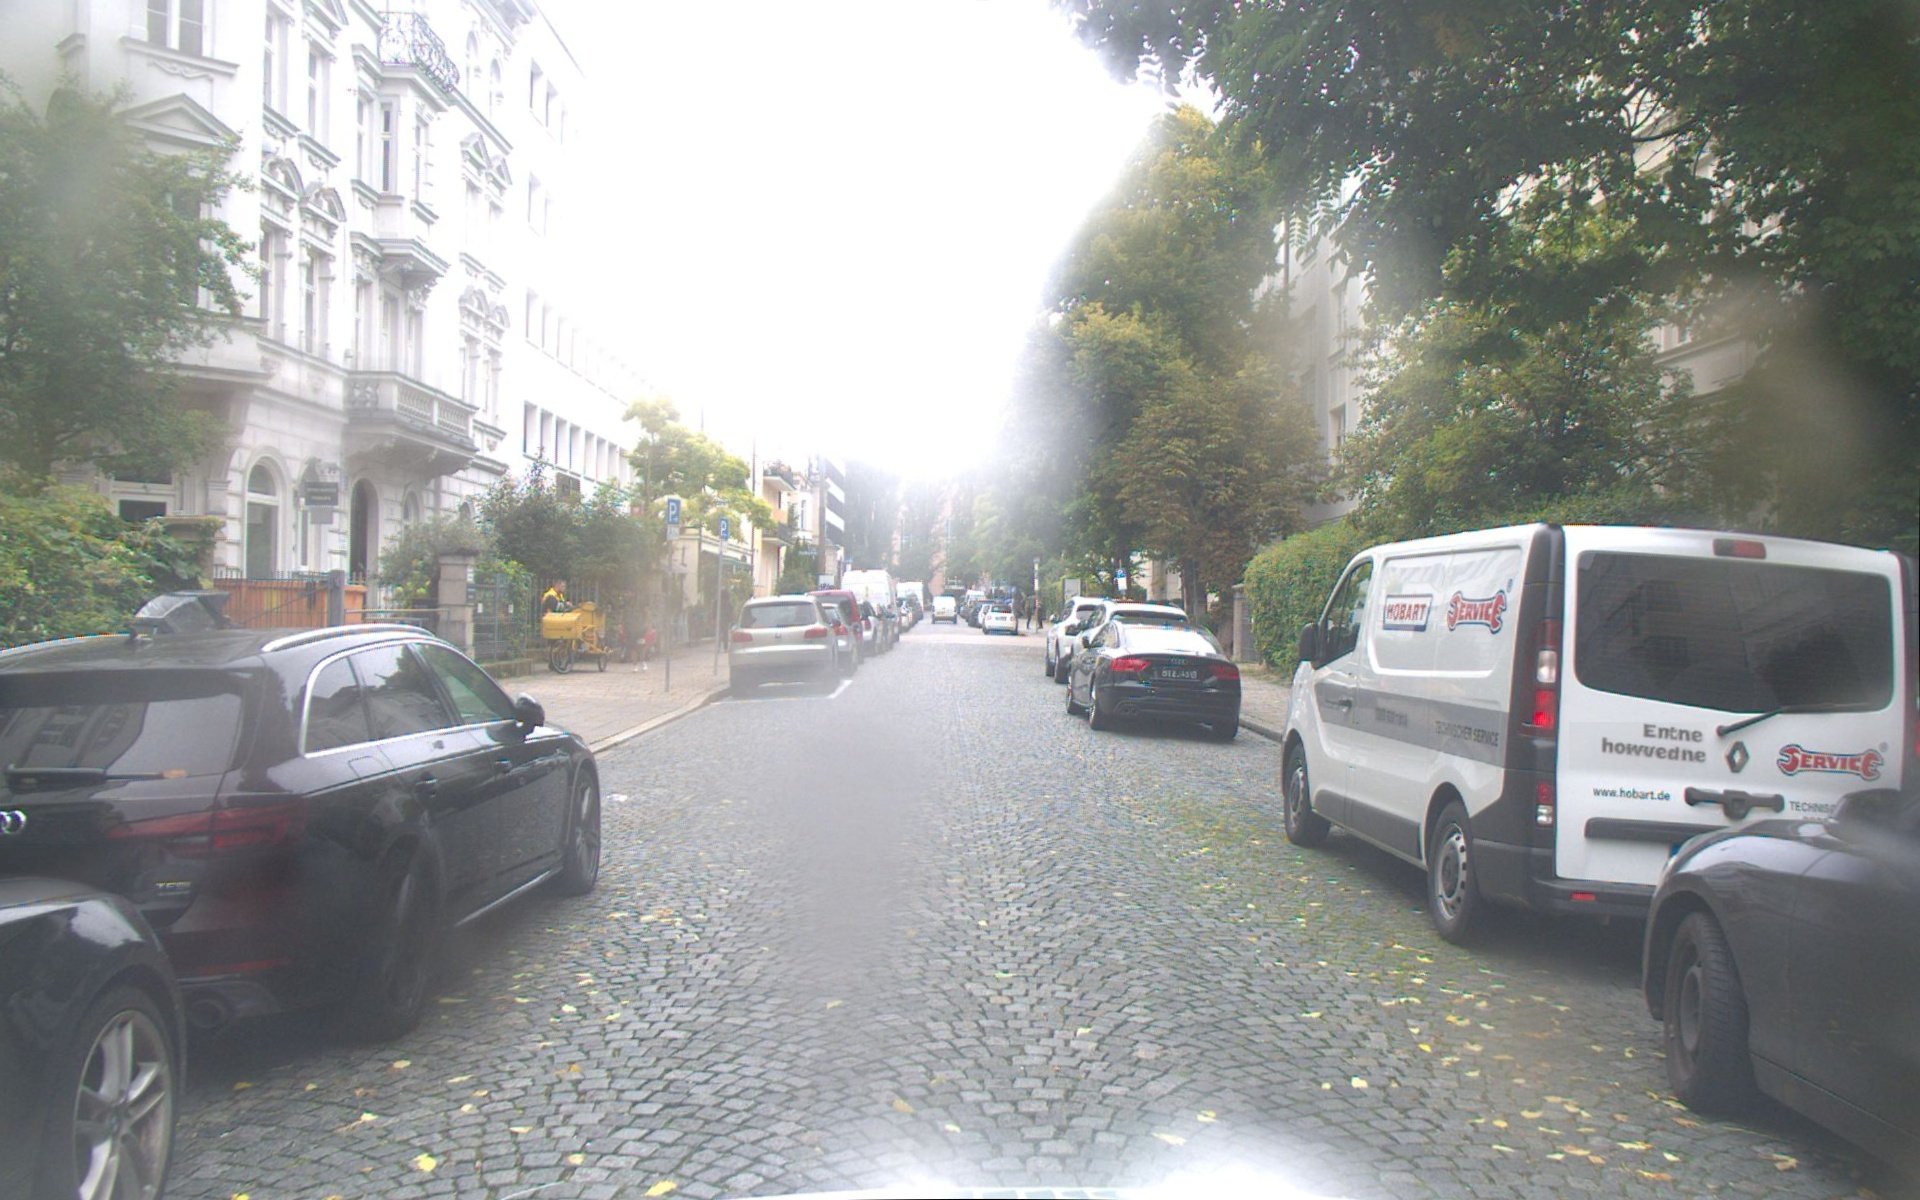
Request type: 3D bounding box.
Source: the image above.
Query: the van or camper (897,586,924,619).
[{"bbox_3d":[-4.349,0.222,146.507,2.210,2.790,5.097,1,0,-1],"label":"van or camper"}]

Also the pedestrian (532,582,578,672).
[{"bbox_3d":[-7.882,0.525,32.205,0.703,1.717,0.695,1,0,-1],"label":"pedestrian"}]

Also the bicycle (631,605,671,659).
[{"bbox_3d":[-7.359,0.752,39.330,0.645,1.242,2.078,1,0,-19],"label":"bicycle"}]

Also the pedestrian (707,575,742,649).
[{"bbox_3d":[-6.369,0.322,44.708,0.776,1.951,0.758,2,0,-1],"label":"pedestrian"}]

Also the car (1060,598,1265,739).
[{"bbox_3d":[2.495,0.799,21.448,1.836,1.529,4.509,3,0,-3],"label":"car"}]

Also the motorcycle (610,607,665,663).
[{"bbox_3d":[-7.228,0.762,37.166,0.609,1.217,1.866,1,0,8],"label":"motorcycle"}]

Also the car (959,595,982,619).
[{"bbox_3d":[0.933,0.588,146.957,1.953,2.049,4.000,1,0,0],"label":"car"}]

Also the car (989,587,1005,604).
[{"bbox_3d":[4.710,-0.559,210.540,1.953,2.049,4.000,1,-1,0],"label":"car"}]

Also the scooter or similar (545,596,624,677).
[{"bbox_3d":[-7.166,0.674,31.680,0.922,1.467,2.656,1,0,-1],"label":"scooter or similar"}]

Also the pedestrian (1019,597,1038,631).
[{"bbox_3d":[4.145,0.851,100.078,0.842,2.049,0.986,1,0,-18],"label":"pedestrian"}]

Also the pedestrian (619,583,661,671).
[{"bbox_3d":[-6.288,0.525,32.554,0.679,1.717,0.719,1,0,-1],"label":"pedestrian"}]

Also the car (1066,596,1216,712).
[{"bbox_3d":[2.840,0.803,26.782,1.781,1.607,4.207,4,0,-1],"label":"car"}]

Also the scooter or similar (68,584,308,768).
[{"bbox_3d":[-6.813,0.615,14.811,0.922,1.467,2.655,2,0,-2],"label":"scooter or similar"}]

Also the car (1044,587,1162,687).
[{"bbox_3d":[2.792,0.691,33.327,1.835,1.763,4.592,3,0,-1],"label":"car"}]

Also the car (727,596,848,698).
[{"bbox_3d":[-2.981,0.766,29.290,1.836,1.607,4.253,-2,0,-3],"label":"car"}]

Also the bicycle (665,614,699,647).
[{"bbox_3d":[-7.716,0.833,45.944,0.492,0.854,2.090,1,0,3],"label":"bicycle"}]

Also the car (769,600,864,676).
[{"bbox_3d":[-3.005,0.769,35.343,1.836,1.476,4.206,-1,0,-3],"label":"car"}]

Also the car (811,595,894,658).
[{"bbox_3d":[-3.002,0.736,46.983,1.834,1.607,4.209,3,0,3],"label":"car"}]

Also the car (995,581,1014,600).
[{"bbox_3d":[4.970,-1.047,185.996,1.953,2.049,4.000,1,-1,0],"label":"car"}]

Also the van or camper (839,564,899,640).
[{"bbox_3d":[-3.372,0.075,61.928,1.953,2.698,4.000,-2,0,0],"label":"van or camper"}]

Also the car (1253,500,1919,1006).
[{"bbox_3d":[3.177,0.631,9.277,1.836,1.962,5.161,3,0,-3],"label":"car"}]

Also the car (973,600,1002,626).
[{"bbox_3d":[1.698,0.811,103.748,1.753,1.547,4.000,1,0,0],"label":"car"}]

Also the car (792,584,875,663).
[{"bbox_3d":[-3.146,0.556,41.861,1.835,1.807,4.121,-3,0,-2],"label":"car"}]

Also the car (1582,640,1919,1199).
[{"bbox_3d":[3.191,0.951,3.811,1.799,1.516,4.421,3,0,0],"label":"car"}]

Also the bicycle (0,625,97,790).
[{"bbox_3d":[-7.127,0.777,12.126,0.565,1.142,2.050,1,0,-2],"label":"bicycle"}]

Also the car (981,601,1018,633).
[{"bbox_3d":[1.975,0.821,83.058,1.753,1.547,4.000,1,0,0],"label":"car"}]

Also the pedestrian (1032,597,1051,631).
[{"bbox_3d":[4.975,0.869,100.528,0.842,2.049,0.986,1,0,-18],"label":"pedestrian"}]

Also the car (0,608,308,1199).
[{"bbox_3d":[-2.630,0.788,2.279,1.747,1.442,4.495,-3,0,-2],"label":"car"}]

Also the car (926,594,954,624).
[{"bbox_3d":[-1.398,0.628,116.775,1.953,2.049,4.000,1,0,0],"label":"car"}]

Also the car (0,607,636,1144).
[{"bbox_3d":[-2.743,0.809,6.880,1.848,1.442,4.406,-3,0,0],"label":"car"}]
